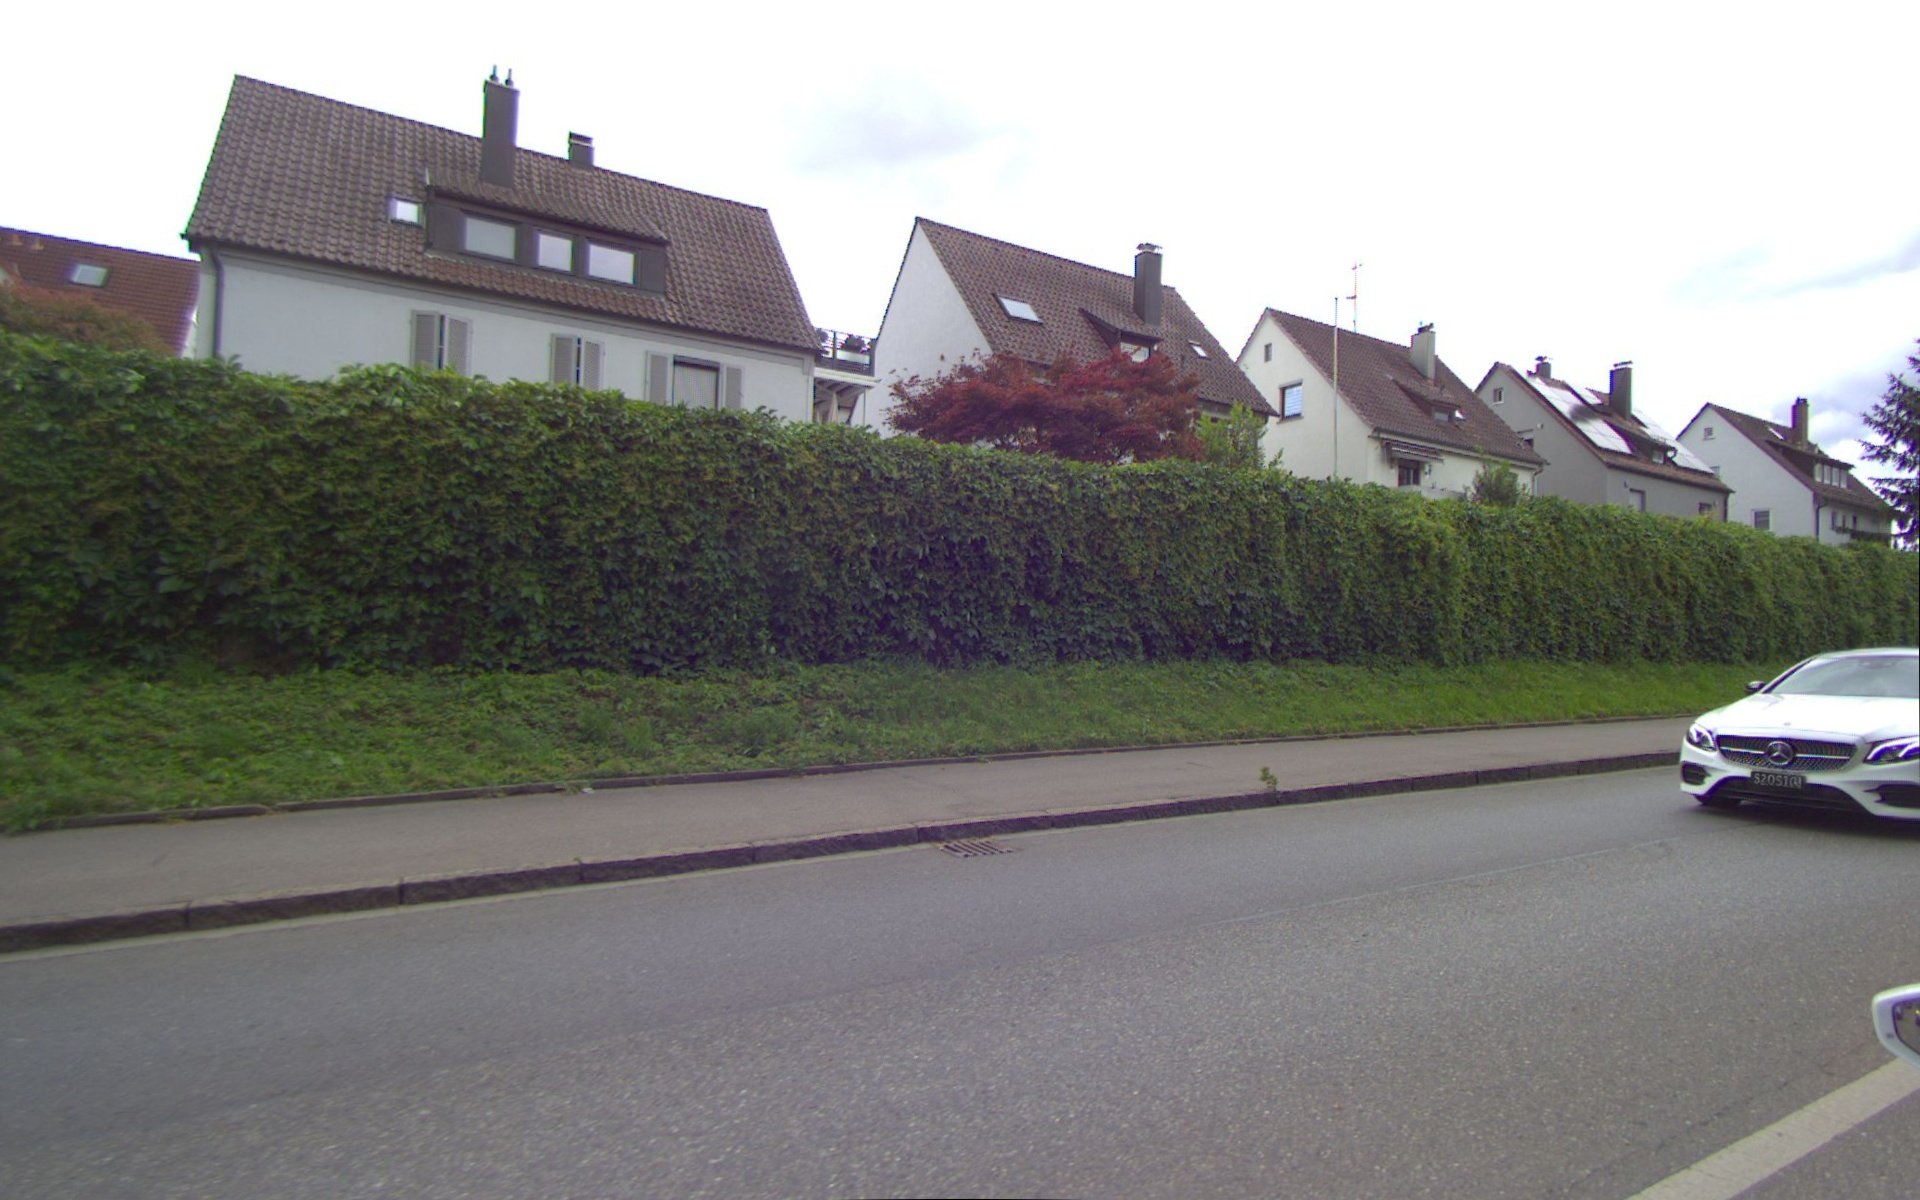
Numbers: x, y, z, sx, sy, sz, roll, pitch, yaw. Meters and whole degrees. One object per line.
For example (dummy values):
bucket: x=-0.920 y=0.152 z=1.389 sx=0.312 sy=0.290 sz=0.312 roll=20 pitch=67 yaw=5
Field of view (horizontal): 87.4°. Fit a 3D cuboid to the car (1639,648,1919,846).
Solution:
car: x=8.397 y=1.147 z=9.127 sx=4.436 sy=1.401 sz=1.878 roll=1 pitch=-3 yaw=-29
